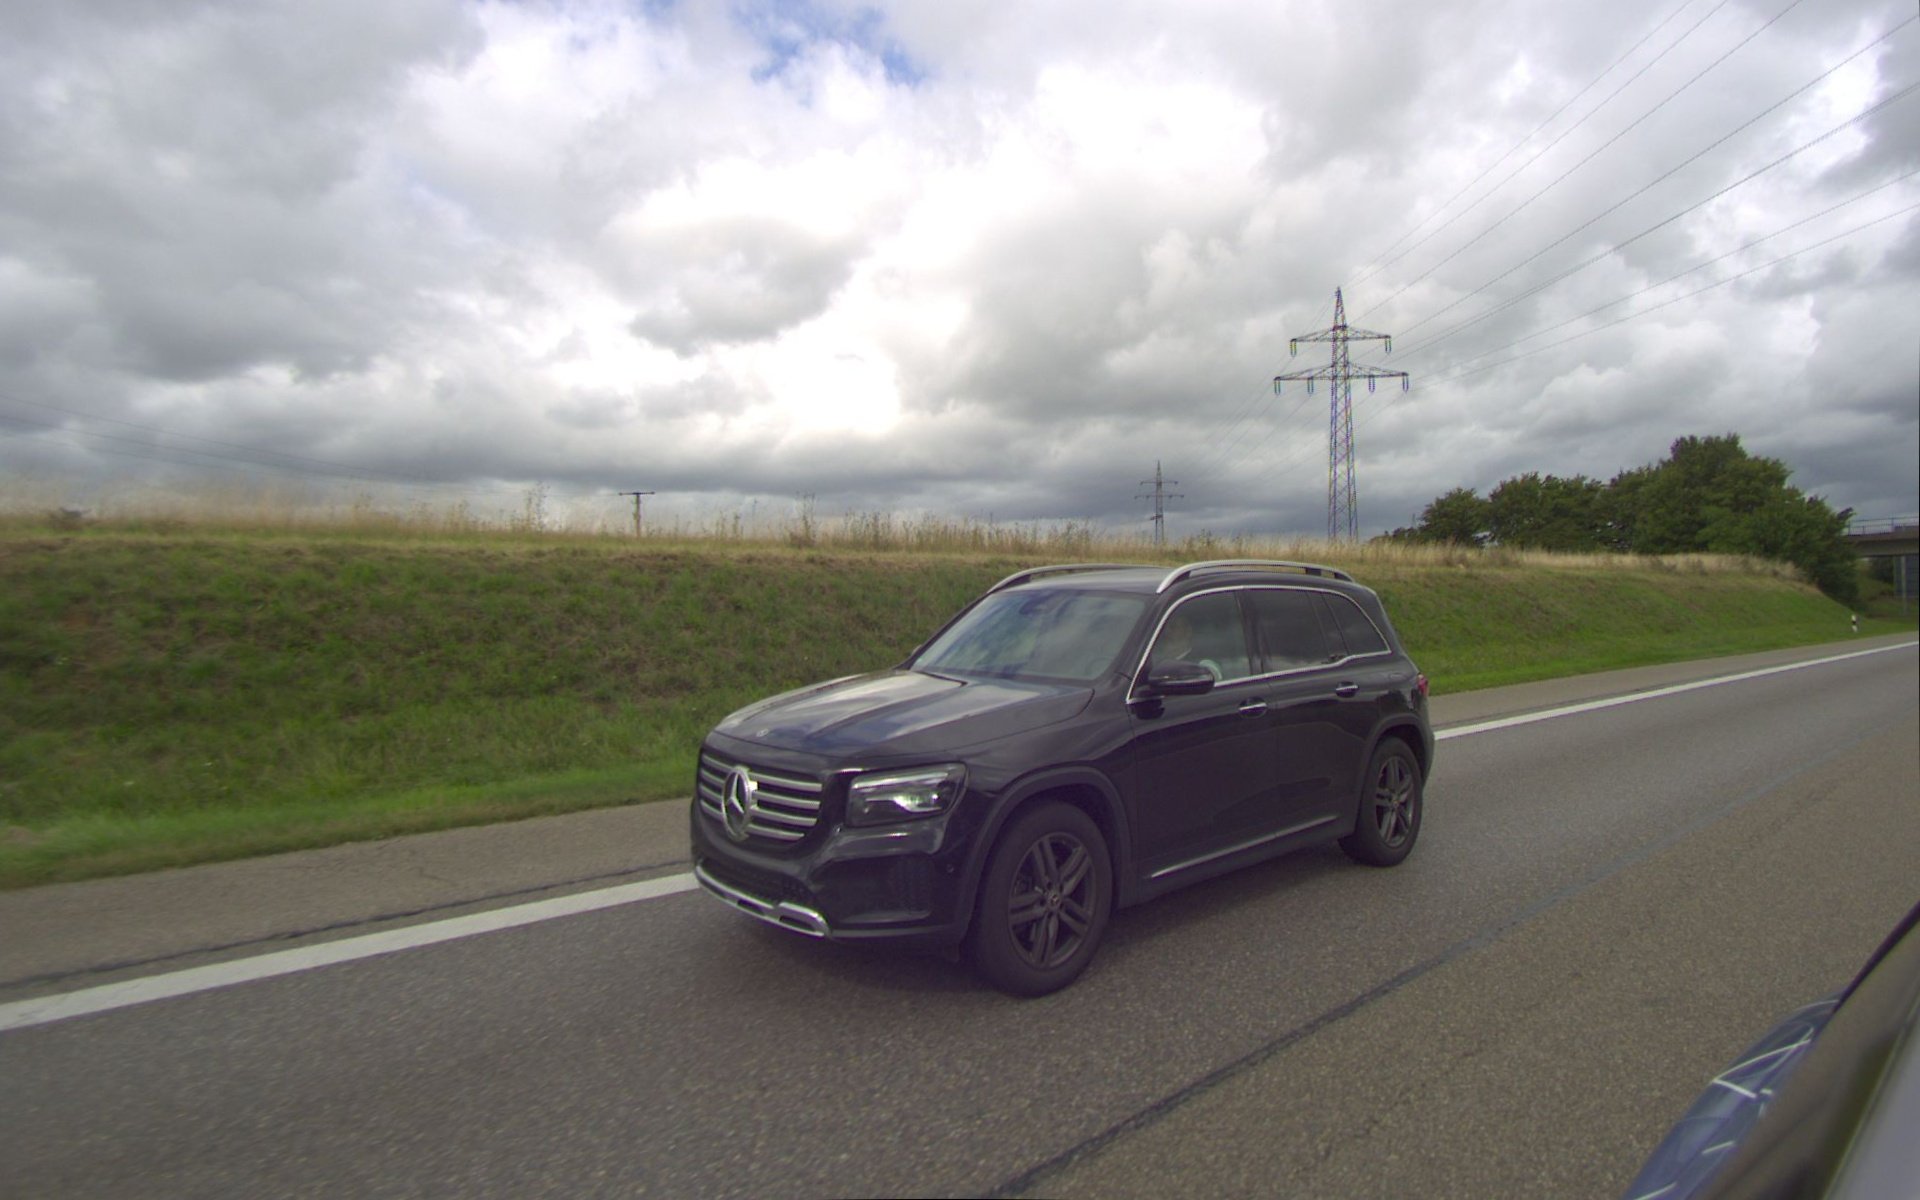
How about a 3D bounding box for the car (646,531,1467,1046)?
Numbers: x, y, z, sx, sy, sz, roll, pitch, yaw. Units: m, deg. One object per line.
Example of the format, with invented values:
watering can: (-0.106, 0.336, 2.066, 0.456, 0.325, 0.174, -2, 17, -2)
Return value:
car: (0.780, 0.562, 5.296, 4.283, 1.629, 1.837, -1, 1, -40)
